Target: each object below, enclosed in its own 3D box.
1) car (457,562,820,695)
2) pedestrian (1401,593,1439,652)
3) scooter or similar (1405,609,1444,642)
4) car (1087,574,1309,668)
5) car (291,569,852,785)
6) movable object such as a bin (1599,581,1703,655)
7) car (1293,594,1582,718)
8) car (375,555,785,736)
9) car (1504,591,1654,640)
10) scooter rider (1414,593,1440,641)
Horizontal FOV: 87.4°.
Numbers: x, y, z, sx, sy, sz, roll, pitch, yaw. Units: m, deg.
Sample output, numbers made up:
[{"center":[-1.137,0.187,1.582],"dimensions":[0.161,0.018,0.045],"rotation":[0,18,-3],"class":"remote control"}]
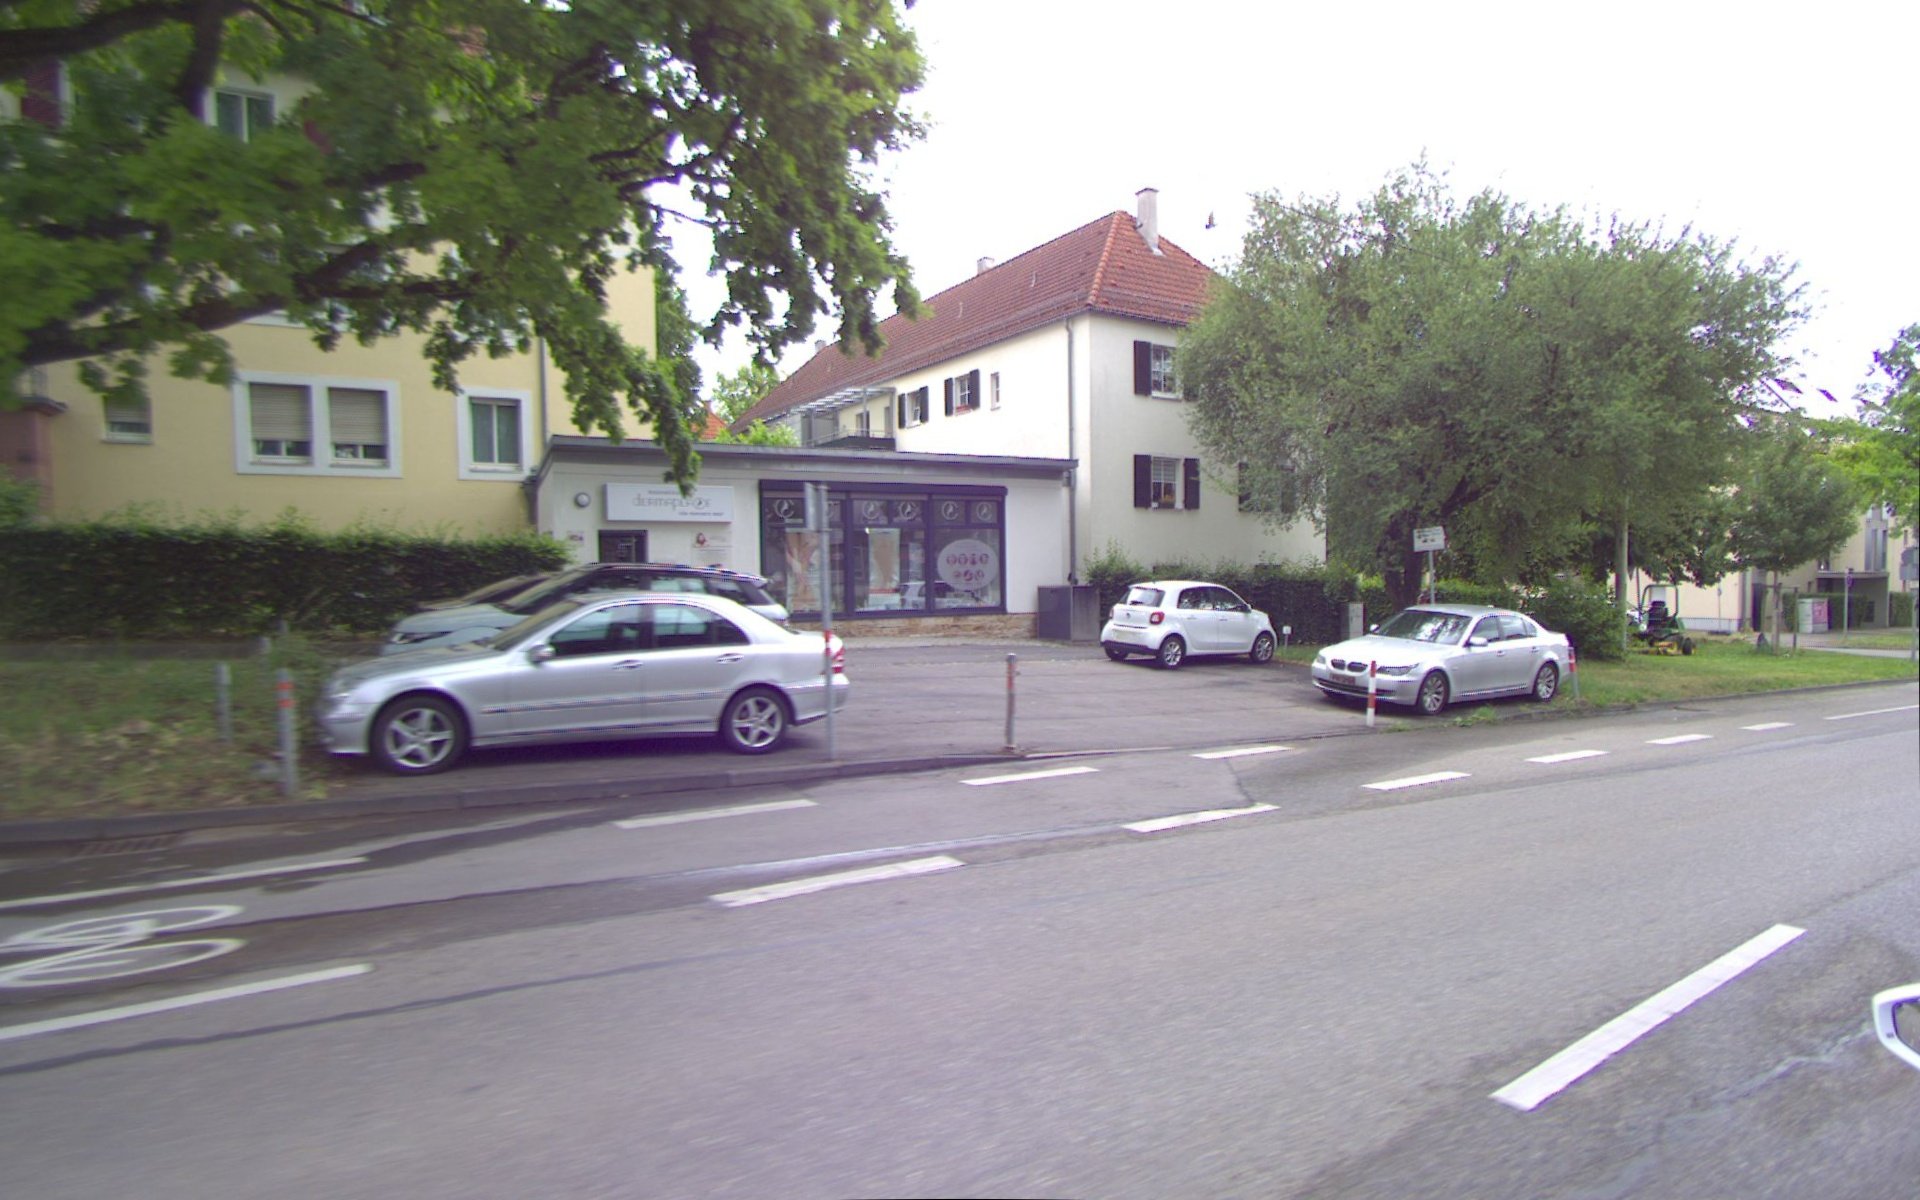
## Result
[{"center":[-4.284,0.333,13.578],"dimensions":[4.390,1.490,1.752],"rotation":[1,3,-31],"class":"car"},{"center":[13.195,0.635,28.791],"dimensions":[0.821,1.635,0.626],"rotation":[1,1,-34],"class":"pedestrian"},{"center":[12.584,0.684,27.194],"dimensions":[1.188,0.854,0.324],"rotation":[1,1,-32],"class":"scooter or similar"},{"center":[4.717,0.383,19.733],"dimensions":[4.240,1.655,1.752],"rotation":[1,1,-32],"class":"car"},{"center":[-3.328,0.569,9.057],"dimensions":[4.338,1.556,1.753],"rotation":[1,1,-29],"class":"car"},{"center":[19.002,0.478,27.609],"dimensions":[2.991,1.929,1.210],"rotation":[1,1,-32],"class":"movable object such as a bin"},{"center":[7.517,0.794,15.672],"dimensions":[4.698,1.655,1.752],"rotation":[1,1,-31],"class":"car"},{"center":[-4.121,0.420,11.078],"dimensions":[3.951,1.655,1.753],"rotation":[1,3,-29],"class":"car"},{"center":[25.810,0.607,42.049],"dimensions":[1.979,1.838,4.962],"rotation":[1,1,-33],"class":"car"},{"center":[12.651,0.455,27.203],"dimensions":[0.553,1.293,0.349],"rotation":[1,1,-31],"class":"scooter rider"}]
